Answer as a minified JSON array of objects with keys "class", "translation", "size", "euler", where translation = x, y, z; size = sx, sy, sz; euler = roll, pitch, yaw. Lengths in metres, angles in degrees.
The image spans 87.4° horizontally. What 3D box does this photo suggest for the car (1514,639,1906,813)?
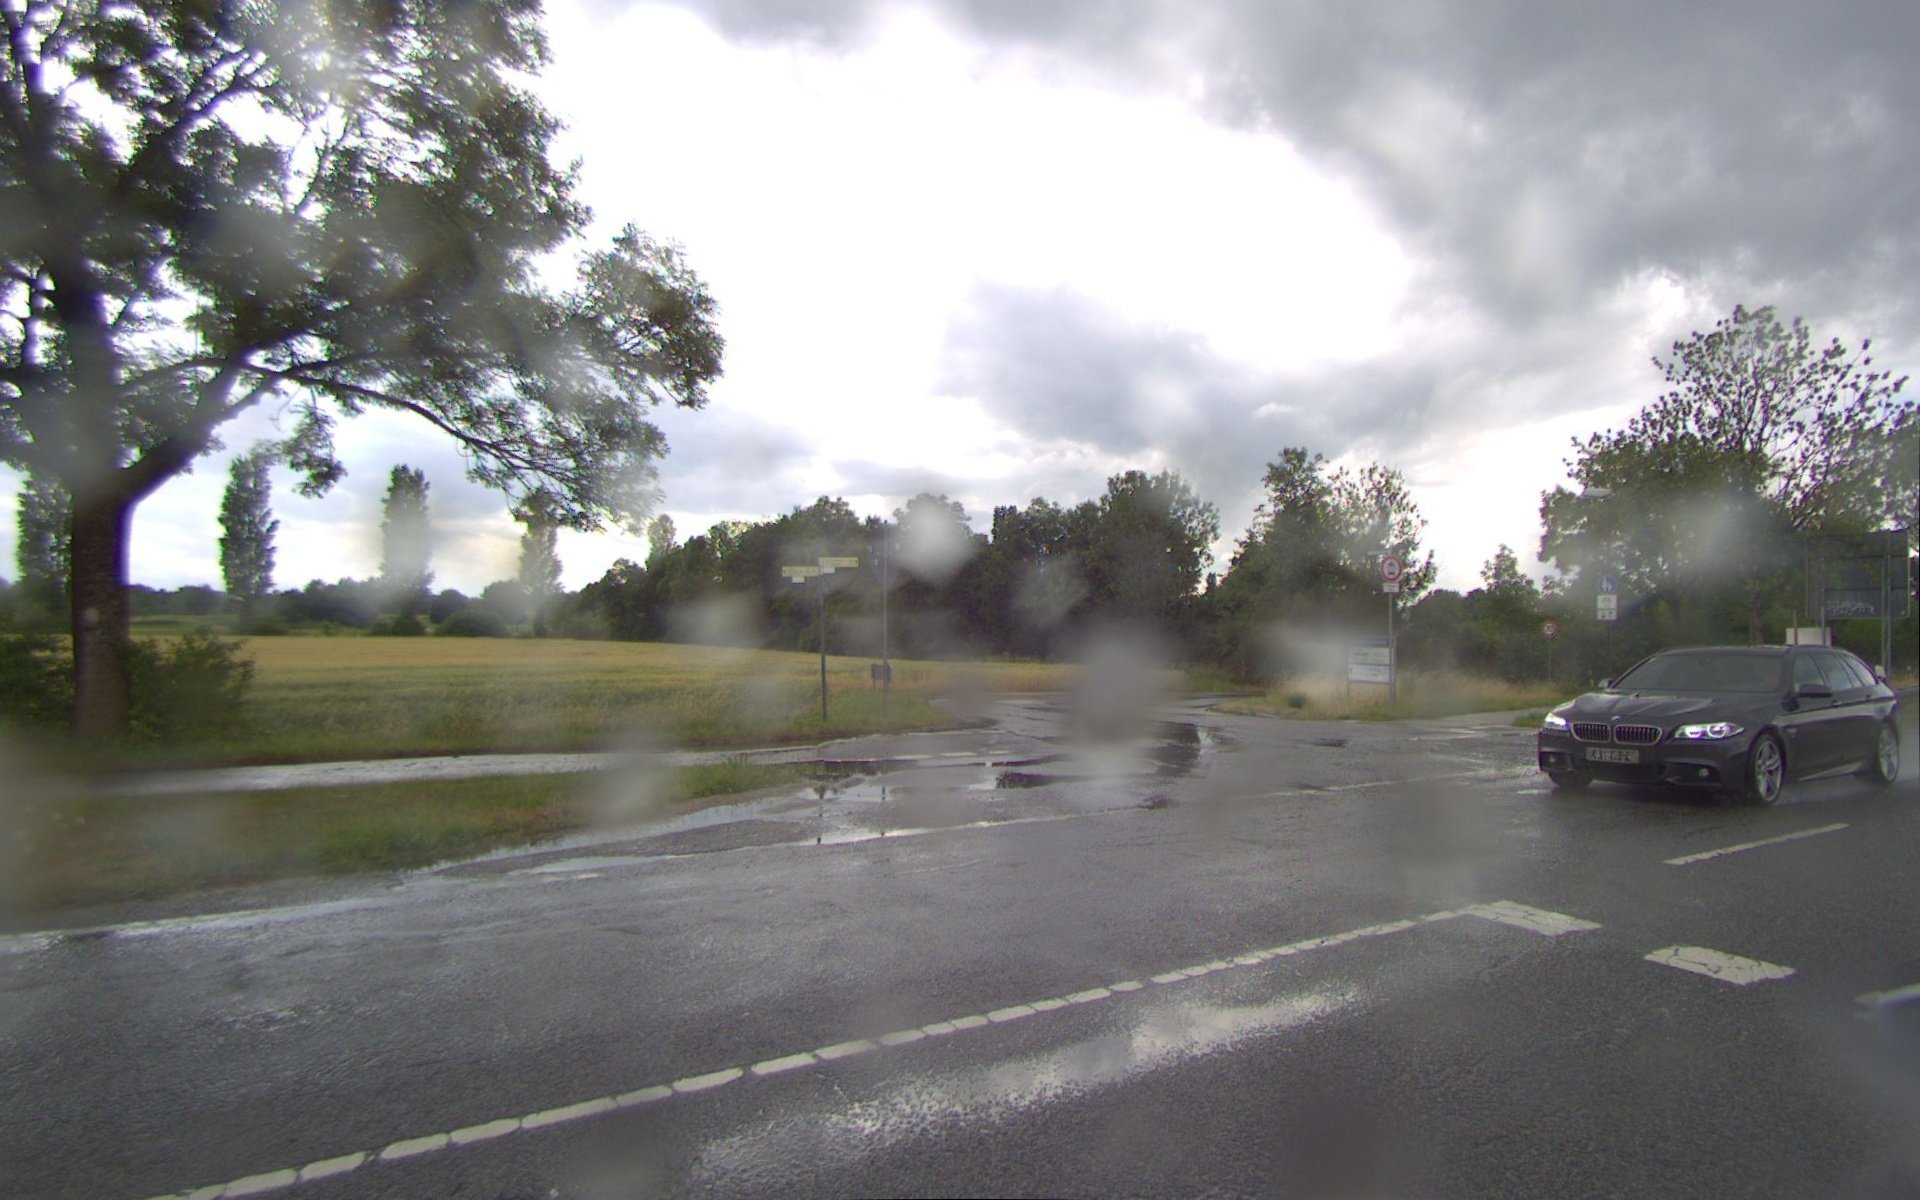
[{"class":"car","translation":[7.798,1.141,10.343],"size":[4.364,1.457,1.756],"euler":[2,-3,-32]}]
